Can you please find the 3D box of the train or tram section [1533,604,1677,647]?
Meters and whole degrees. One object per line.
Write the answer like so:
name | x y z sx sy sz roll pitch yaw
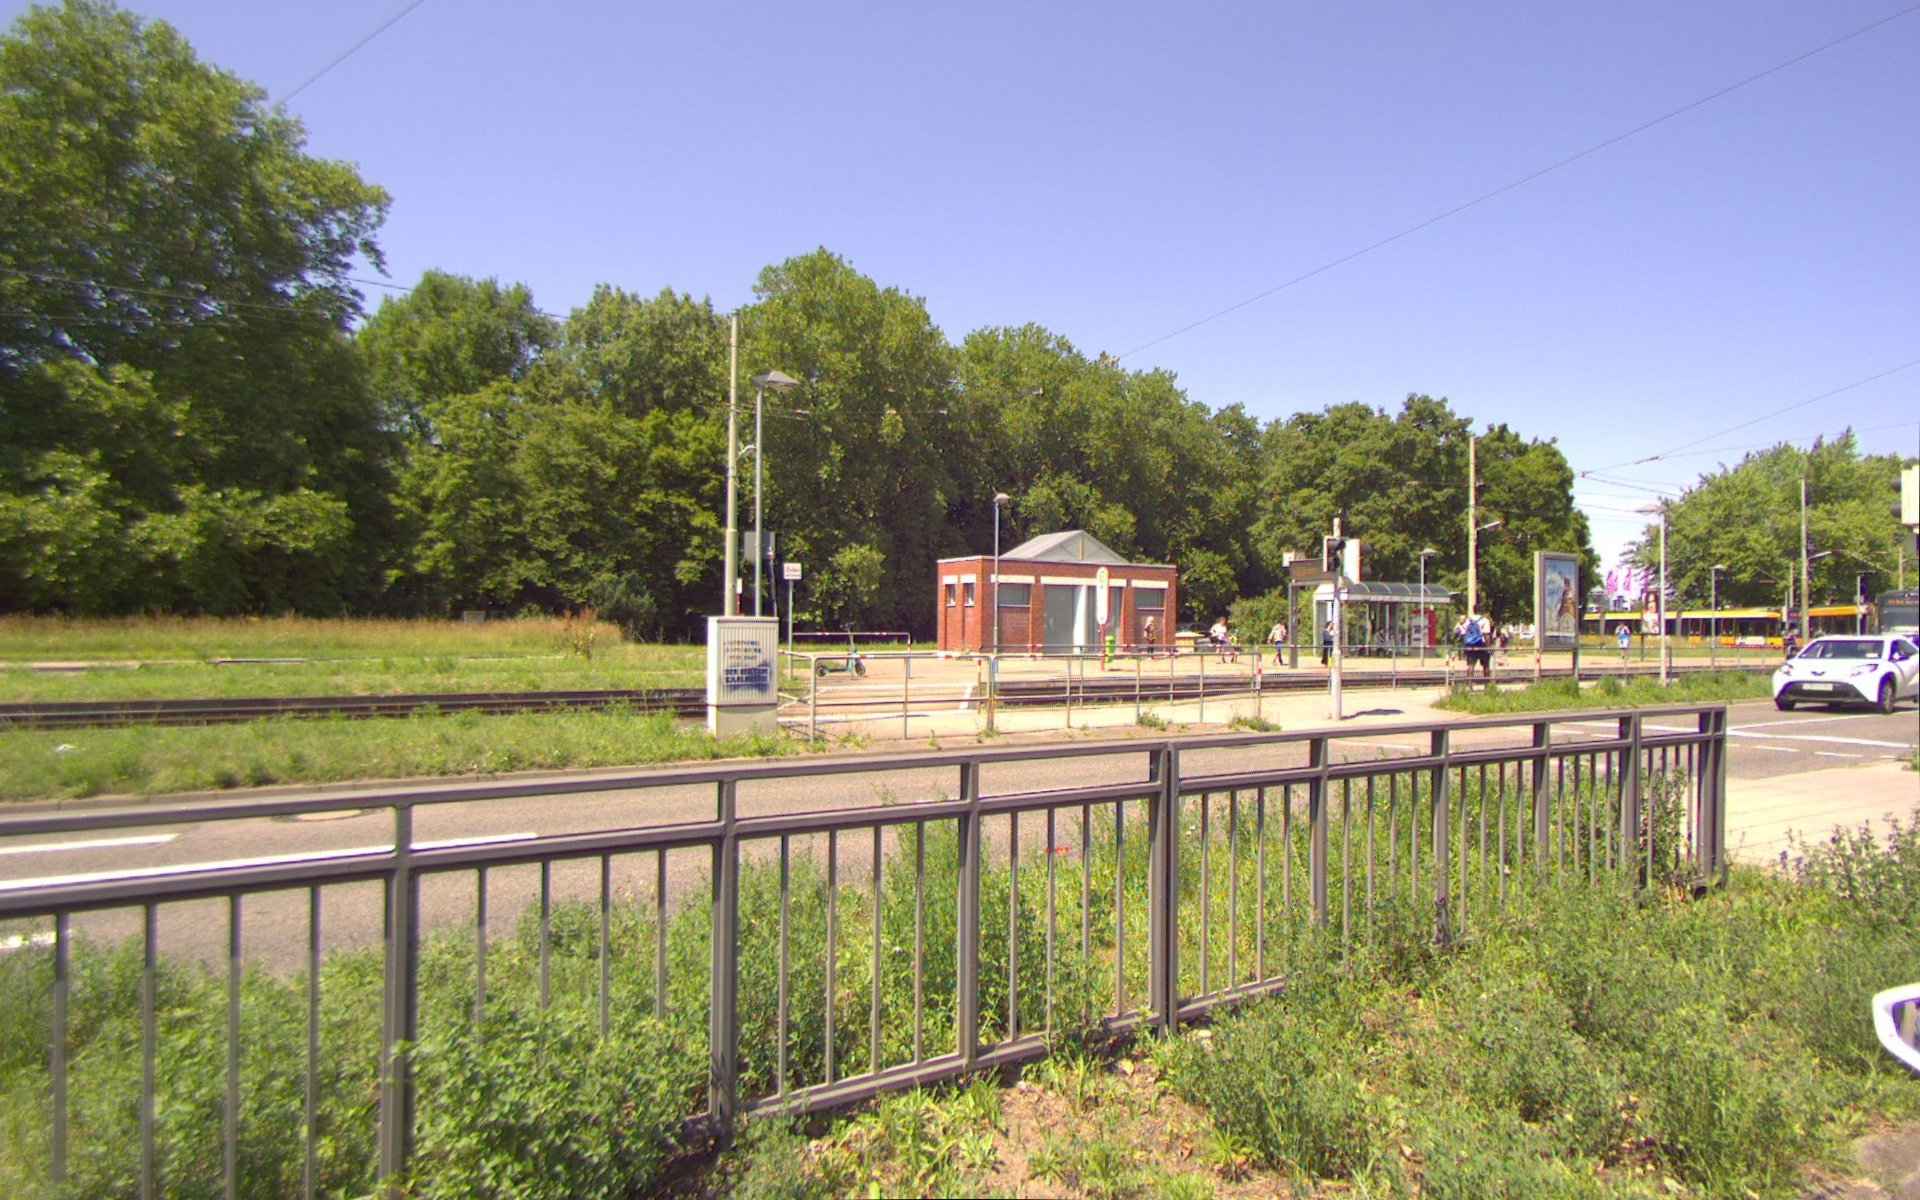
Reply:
train or tram section | 64.852 2.557 102.057 3.162 3.984 18.504 1 -1 1

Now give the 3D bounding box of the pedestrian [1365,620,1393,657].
pedestrian | 17.248 1.576 41.370 0.710 1.531 0.841 1 -1 -19

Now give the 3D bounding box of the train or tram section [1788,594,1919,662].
train or tram section | 59.928 1.871 67.487 3.167 3.984 18.471 0 -1 29

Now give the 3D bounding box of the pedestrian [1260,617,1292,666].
pedestrian | 10.688 1.398 33.941 0.799 1.611 0.668 1 -1 -30

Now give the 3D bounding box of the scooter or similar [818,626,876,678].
scooter or similar | -2.635 1.206 23.447 1.217 1.183 0.508 1 -1 -30

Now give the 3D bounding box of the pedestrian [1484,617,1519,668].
pedestrian | 20.036 1.552 37.151 0.832 1.802 0.714 -1 5 -30

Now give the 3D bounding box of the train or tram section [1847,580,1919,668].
train or tram section | 49.141 1.292 52.757 3.181 3.984 18.391 0 -1 43

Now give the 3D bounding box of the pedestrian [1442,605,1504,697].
pedestrian | 10.587 1.028 20.743 0.832 1.802 0.714 -1 5 -30

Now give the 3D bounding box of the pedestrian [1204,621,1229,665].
pedestrian | 8.635 1.442 33.871 0.573 1.476 0.639 1 -1 -15

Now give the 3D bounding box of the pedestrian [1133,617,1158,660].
pedestrian | 6.500 1.353 35.200 0.563 1.499 0.636 1 -1 -30

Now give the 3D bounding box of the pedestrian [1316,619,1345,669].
pedestrian | 11.928 1.400 32.376 0.688 1.575 0.629 1 -1 -42

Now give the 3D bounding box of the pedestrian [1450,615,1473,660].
pedestrian | 20.614 1.539 41.324 0.707 1.824 0.845 0 -1 17

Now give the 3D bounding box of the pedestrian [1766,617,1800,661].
pedestrian | 38.440 1.810 46.922 1.009 2.040 0.976 1 -1 -30

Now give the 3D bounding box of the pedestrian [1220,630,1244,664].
pedestrian | 9.252 1.594 34.181 0.560 1.139 0.639 1 -1 -15

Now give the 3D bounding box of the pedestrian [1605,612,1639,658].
pedestrian | 30.045 1.573 45.596 1.009 2.040 0.976 1 -1 -30

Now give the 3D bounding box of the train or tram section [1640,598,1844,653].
train or tram section | 64.292 2.085 83.753 3.162 3.984 18.506 1 -1 2

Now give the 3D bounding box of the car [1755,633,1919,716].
car | 18.089 1.448 20.402 3.747 1.514 1.836 1 -1 -30
